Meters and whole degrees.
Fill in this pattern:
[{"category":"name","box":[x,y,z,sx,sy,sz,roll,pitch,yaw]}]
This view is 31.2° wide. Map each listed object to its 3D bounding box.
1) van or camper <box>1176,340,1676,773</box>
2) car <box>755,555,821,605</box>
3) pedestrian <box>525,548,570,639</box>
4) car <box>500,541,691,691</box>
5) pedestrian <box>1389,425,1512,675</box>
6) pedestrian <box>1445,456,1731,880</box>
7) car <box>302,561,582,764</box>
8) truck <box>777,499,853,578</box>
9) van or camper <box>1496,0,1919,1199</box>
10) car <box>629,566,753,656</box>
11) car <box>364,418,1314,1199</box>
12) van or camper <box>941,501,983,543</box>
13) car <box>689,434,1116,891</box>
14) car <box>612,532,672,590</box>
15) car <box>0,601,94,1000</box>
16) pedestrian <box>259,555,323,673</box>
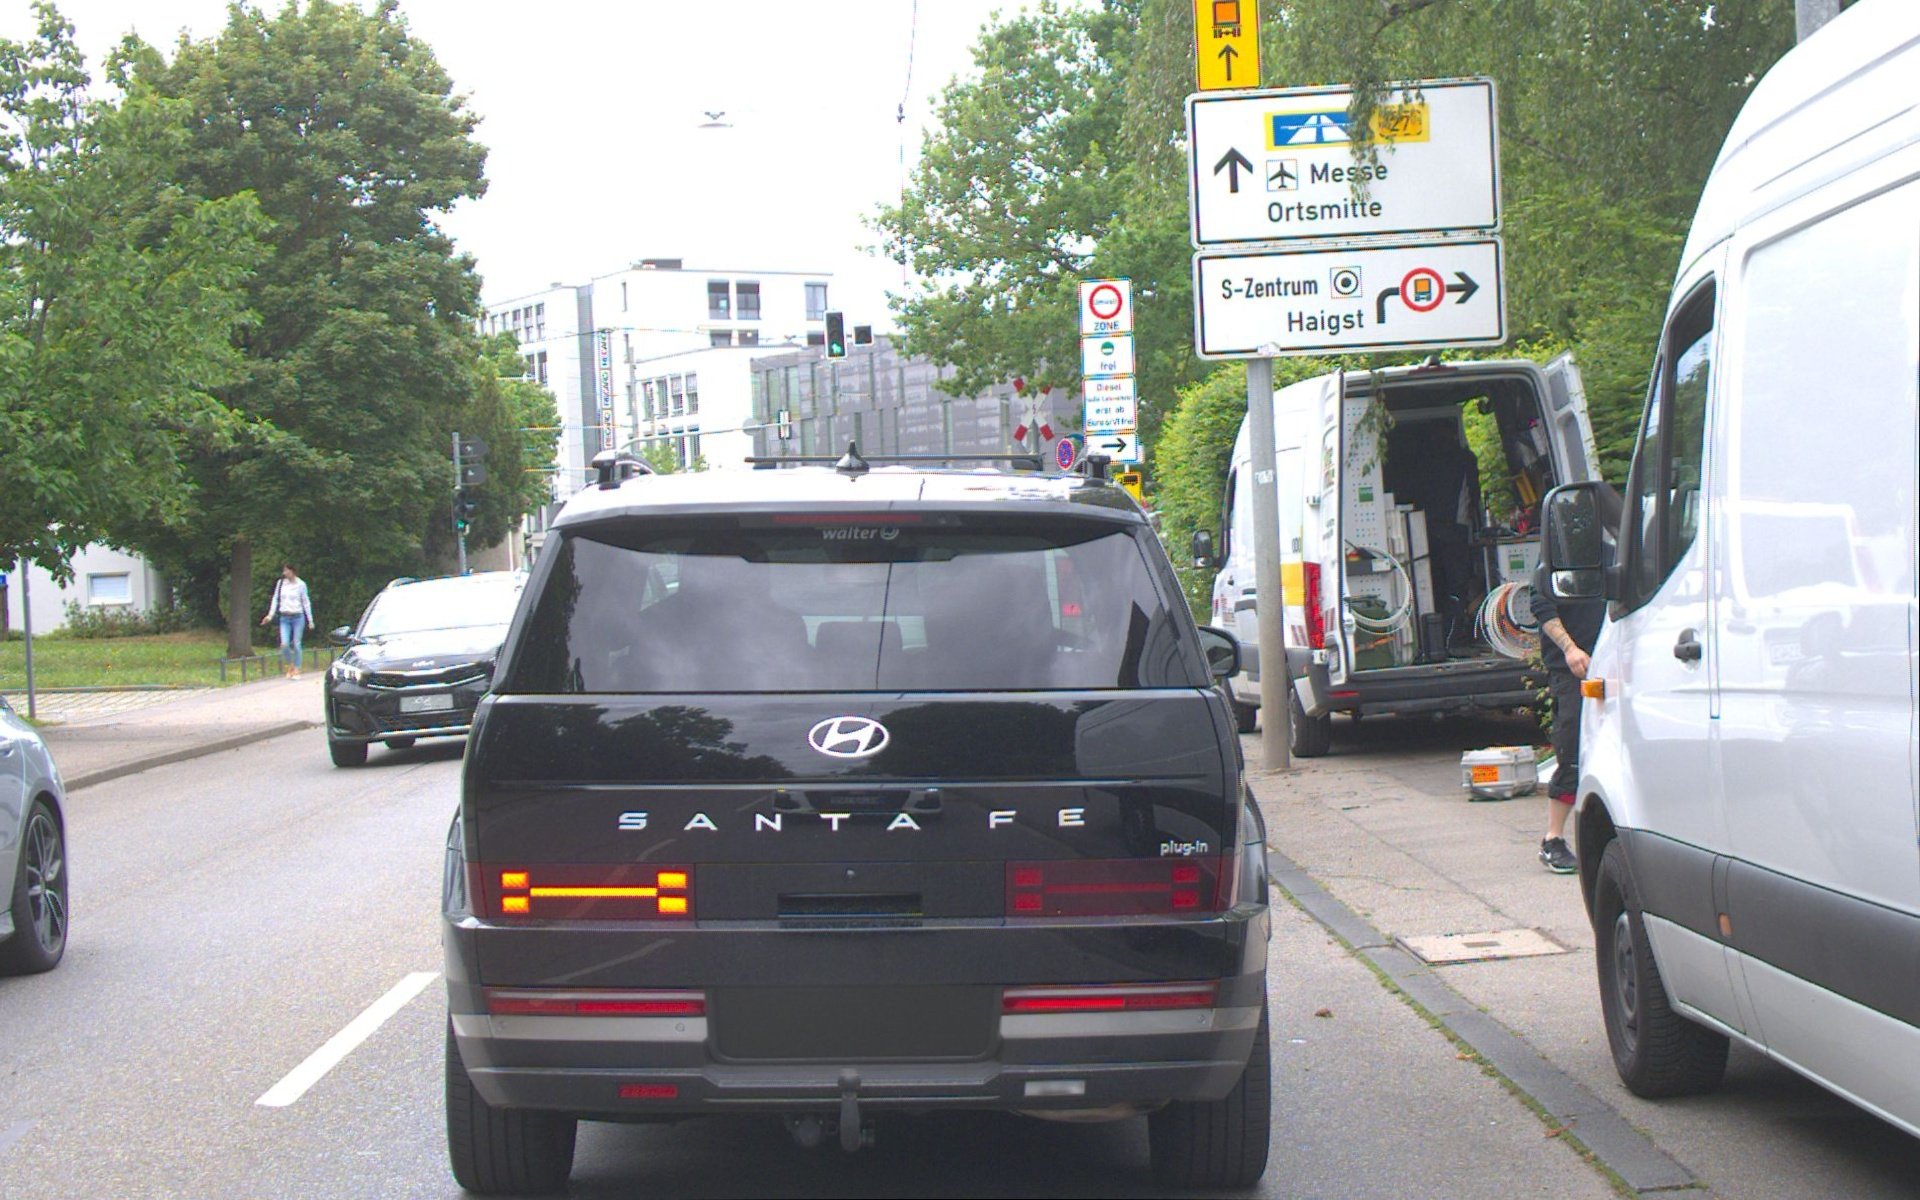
[{"category":"van or camper","box":[3.101,-0.262,24.623,2.340,2.486,6.603,-5,0,-1]},{"category":"car","box":[-5.525,-0.663,110.714,1.838,1.533,4.268,-2,1,0]},{"category":"pedestrian","box":[-9.141,-0.150,76.218,0.830,2.007,1.047,1,0,2]},{"category":"car","box":[-4.470,0.175,42.691,1.880,1.639,4.128,-4,1,-1]},{"category":"pedestrian","box":[3.347,-0.336,23.444,0.736,1.638,0.801,-3,0,9]},{"category":"pedestrian","box":[2.701,0.287,14.774,0.791,1.714,0.751,-3,3,43]},{"category":"car","box":[-4.272,0.474,28.896,1.701,1.478,4.000,-4,1,-1]},{"category":"truck","box":[-7.532,-3.157,177.547,3.107,3.846,9.623,-2,1,-6]},{"category":"van or camper","box":[2.628,0.043,6.326,1.991,2.616,6.544,-5,0,-1]},{"category":"car","box":[-4.844,0.168,62.451,1.814,1.414,4.829,-5,1,-1]},{"category":"car","box":[-0.268,0.516,8.950,1.897,1.770,3.994,1,0,-1]},{"category":"van or camper","box":[0.097,-3.896,171.839,1.795,1.992,3.824,1,0,-4]},{"category":"car","box":[-0.281,0.266,17.505,1.897,2.035,3.994,1,0,-1]},{"category":"car","box":[-13.281,-1.615,143.390,2.332,2.307,4.959,-2,1,-6]},{"category":"car","box":[-4.298,0.782,11.275,1.756,1.398,4.414,-4,1,-1]},{"category":"pedestrian","box":[-10.072,0.206,51.776,0.767,1.742,0.904,-1,0,-1]}]
